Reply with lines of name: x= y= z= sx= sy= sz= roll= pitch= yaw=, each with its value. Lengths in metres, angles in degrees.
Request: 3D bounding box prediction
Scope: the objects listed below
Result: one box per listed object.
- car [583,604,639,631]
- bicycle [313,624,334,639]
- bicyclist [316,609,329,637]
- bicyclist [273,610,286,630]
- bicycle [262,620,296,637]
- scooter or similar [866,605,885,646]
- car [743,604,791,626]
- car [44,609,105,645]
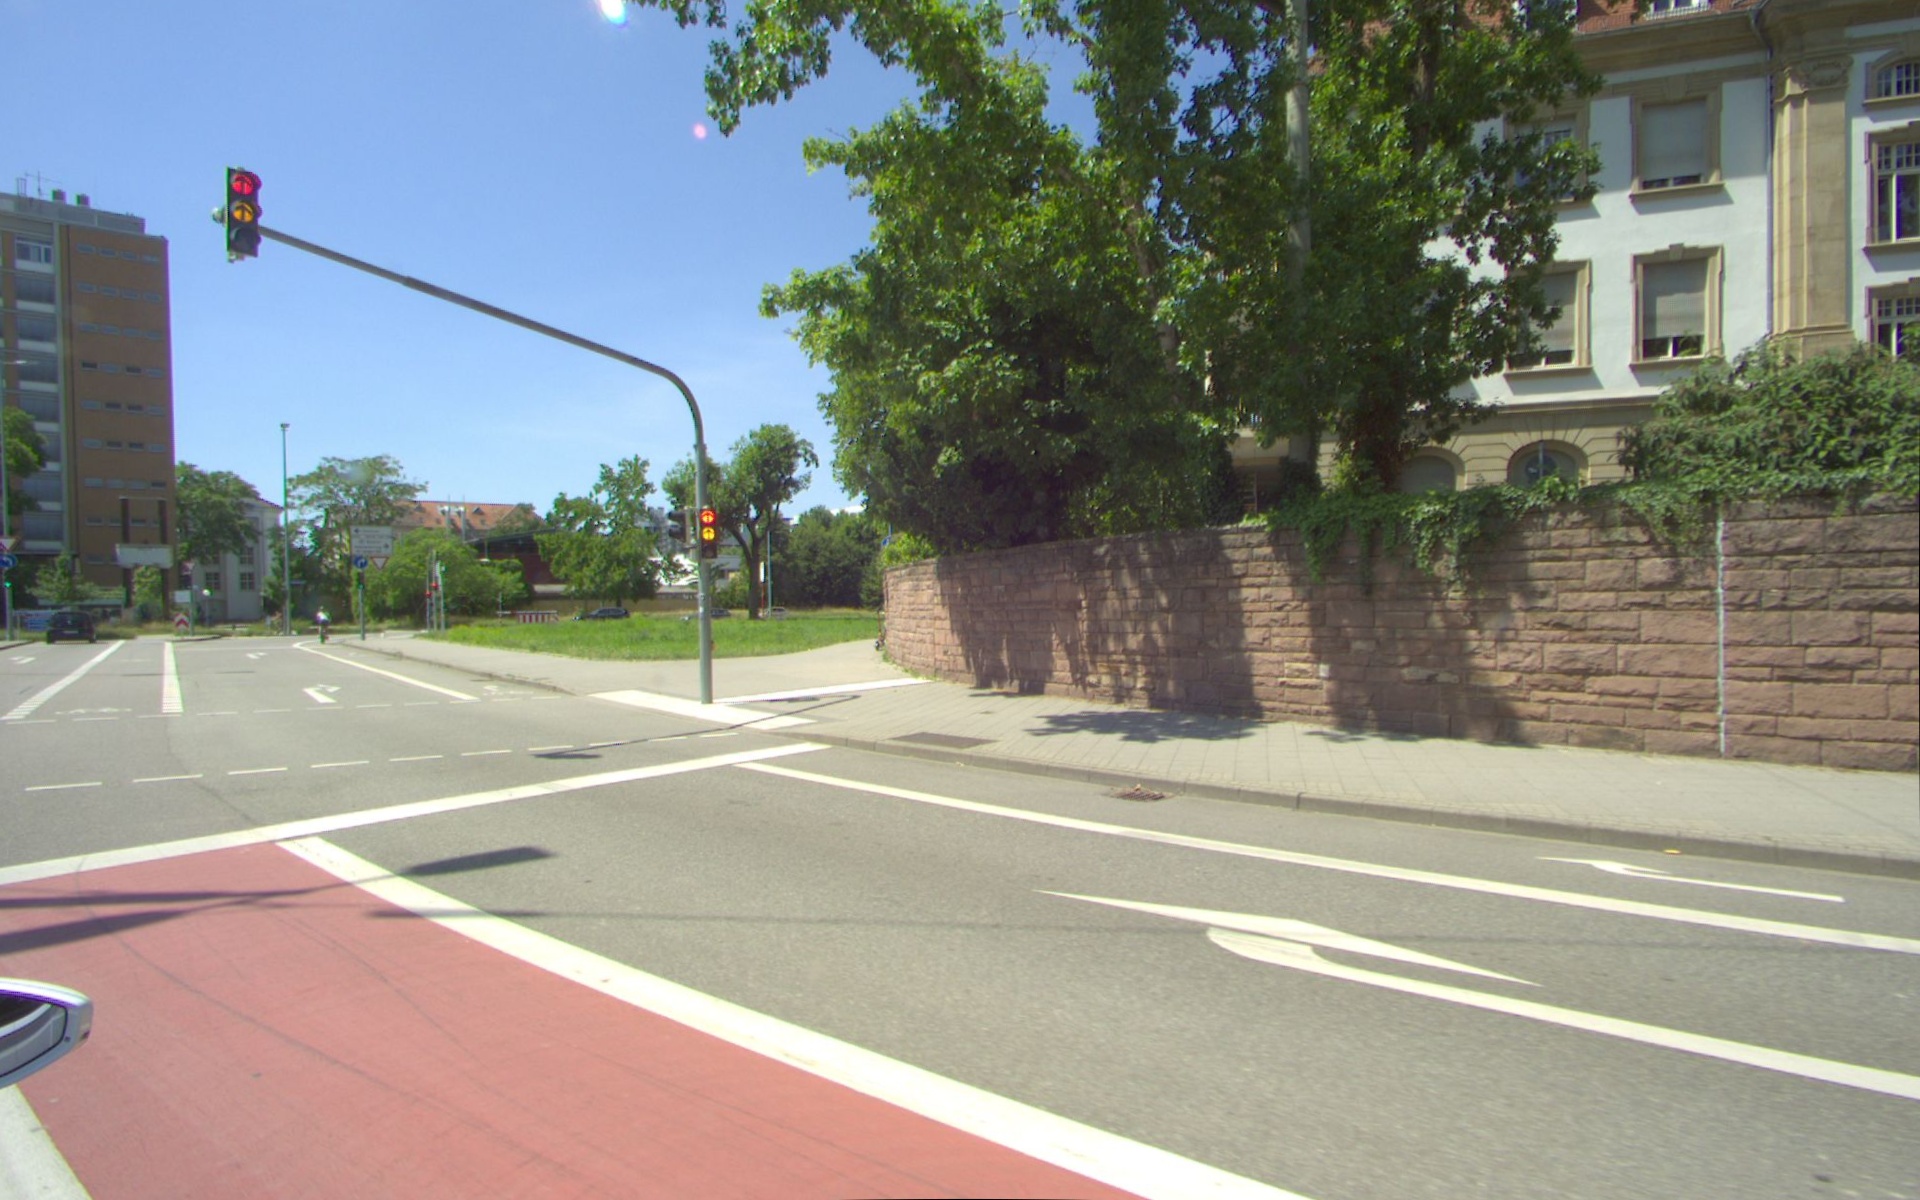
car: x=-27.958 y=1.408 z=80.347 sx=3.950 sy=2.040 sz=1.460 roll=-1 pitch=0 yaw=-36
bicycle: x=-29.184 y=1.427 z=45.908 sx=0.371 sy=0.655 sz=1.641 roll=-1 pitch=0 yaw=-17
bicyclist: x=-29.170 y=1.045 z=45.852 sx=0.346 sy=1.244 sz=0.563 roll=-1 pitch=1 yaw=-18
bicyclist: x=-50.855 y=1.501 z=74.863 sx=0.676 sy=1.508 sz=0.781 roll=-1 pitch=0 yaw=-28
bicycle: x=-50.887 y=2.133 z=74.871 sx=1.982 sy=1.150 sz=0.571 roll=-3 pitch=1 yaw=-27
scooter or similar: x=-2.450 y=0.730 z=29.087 sx=0.269 sy=1.178 sz=1.466 roll=-1 pitch=0 yaw=5
car: x=-17.219 y=1.317 z=89.542 sx=3.950 sy=1.895 sz=1.460 roll=-1 pitch=0 yaw=-36
car: x=-40.236 y=1.210 z=45.480 sx=3.648 sy=1.547 sz=1.679 roll=0 pitch=1 yaw=42
